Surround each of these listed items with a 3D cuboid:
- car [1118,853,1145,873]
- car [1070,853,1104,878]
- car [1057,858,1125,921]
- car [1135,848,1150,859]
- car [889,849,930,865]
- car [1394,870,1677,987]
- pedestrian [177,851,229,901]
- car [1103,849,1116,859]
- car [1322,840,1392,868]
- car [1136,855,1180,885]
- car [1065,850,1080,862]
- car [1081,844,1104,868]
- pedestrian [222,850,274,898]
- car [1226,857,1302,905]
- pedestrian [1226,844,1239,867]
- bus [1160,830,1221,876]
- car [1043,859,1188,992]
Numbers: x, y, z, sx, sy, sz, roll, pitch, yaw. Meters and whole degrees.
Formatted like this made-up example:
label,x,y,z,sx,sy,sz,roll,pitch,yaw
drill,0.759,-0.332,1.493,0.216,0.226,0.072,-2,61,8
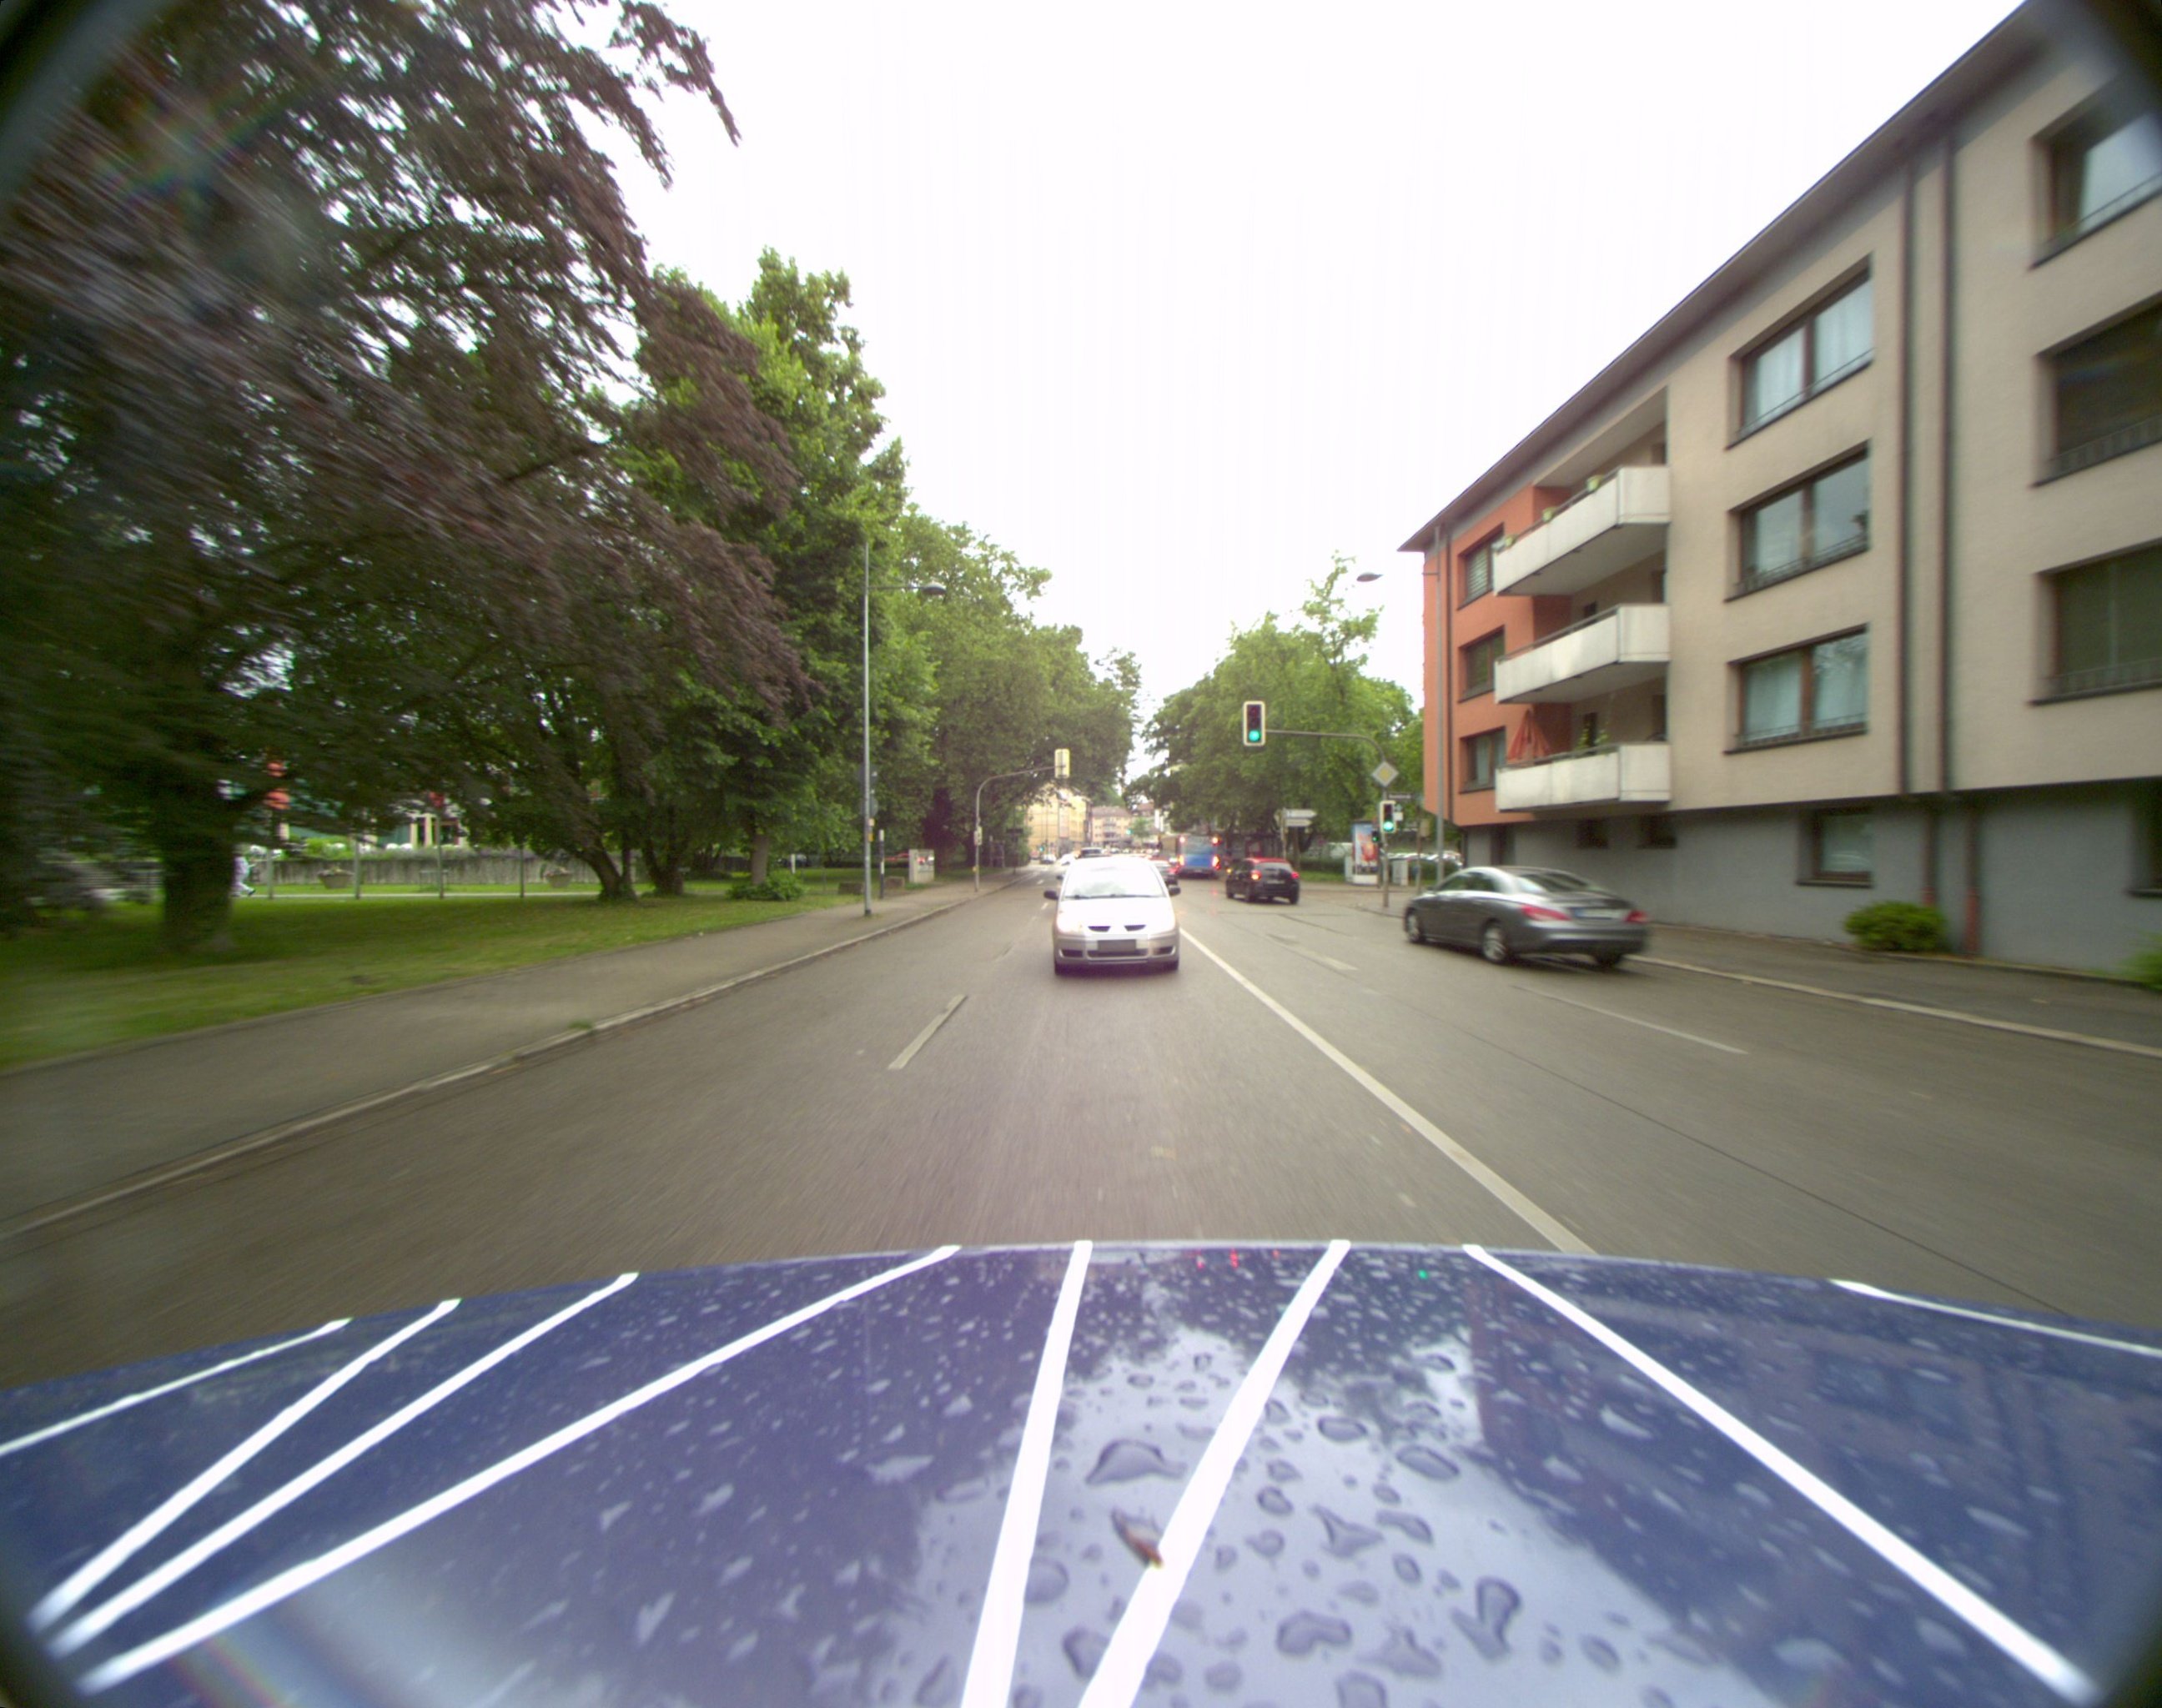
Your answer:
label,x,y,z,sx,sy,sz,roll,pitch,yaw
car,3.897,0.633,57.992,1.799,1.449,4.493,1,0,7
car,0.404,0.667,46.498,1.800,1.449,4.492,0,0,4
car,0.271,0.919,21.445,1.718,1.509,4.088,-1,0,0
car,9.142,-0.060,113.028,1.802,1.508,4.807,1,0,0
car,-18.515,0.332,82.081,3.998,1.706,1.999,0,0,-2
car,6.754,0.993,12.026,1.817,1.407,4.683,0,0,2
pedestrian,-32.064,0.778,27.752,0.840,1.753,0.771,-3,1,-5
car,4.470,-0.005,119.071,1.802,1.508,4.580,1,0,0
car,19.468,-0.015,53.677,4.334,1.911,1.702,0,1,-2
car,3.764,0.773,37.736,1.798,1.407,4.335,0,0,0
car,-1.092,0.290,101.695,1.906,1.538,4.000,-1,1,2
car,1.118,0.124,70.569,2.037,2.119,4.000,-1,1,2
pedestrian,-31.757,0.754,28.981,0.840,1.753,0.879,-3,1,-5
car,6.199,0.862,26.114,1.691,1.483,3.890,1,0,0
pedestrian,11.645,0.110,58.407,0.711,1.759,0.687,-3,1,1
bus,7.540,-0.142,54.114,2.700,2.923,12.083,0,1,1
car,0.440,0.899,11.757,1.718,1.509,4.806,-2,0,0
